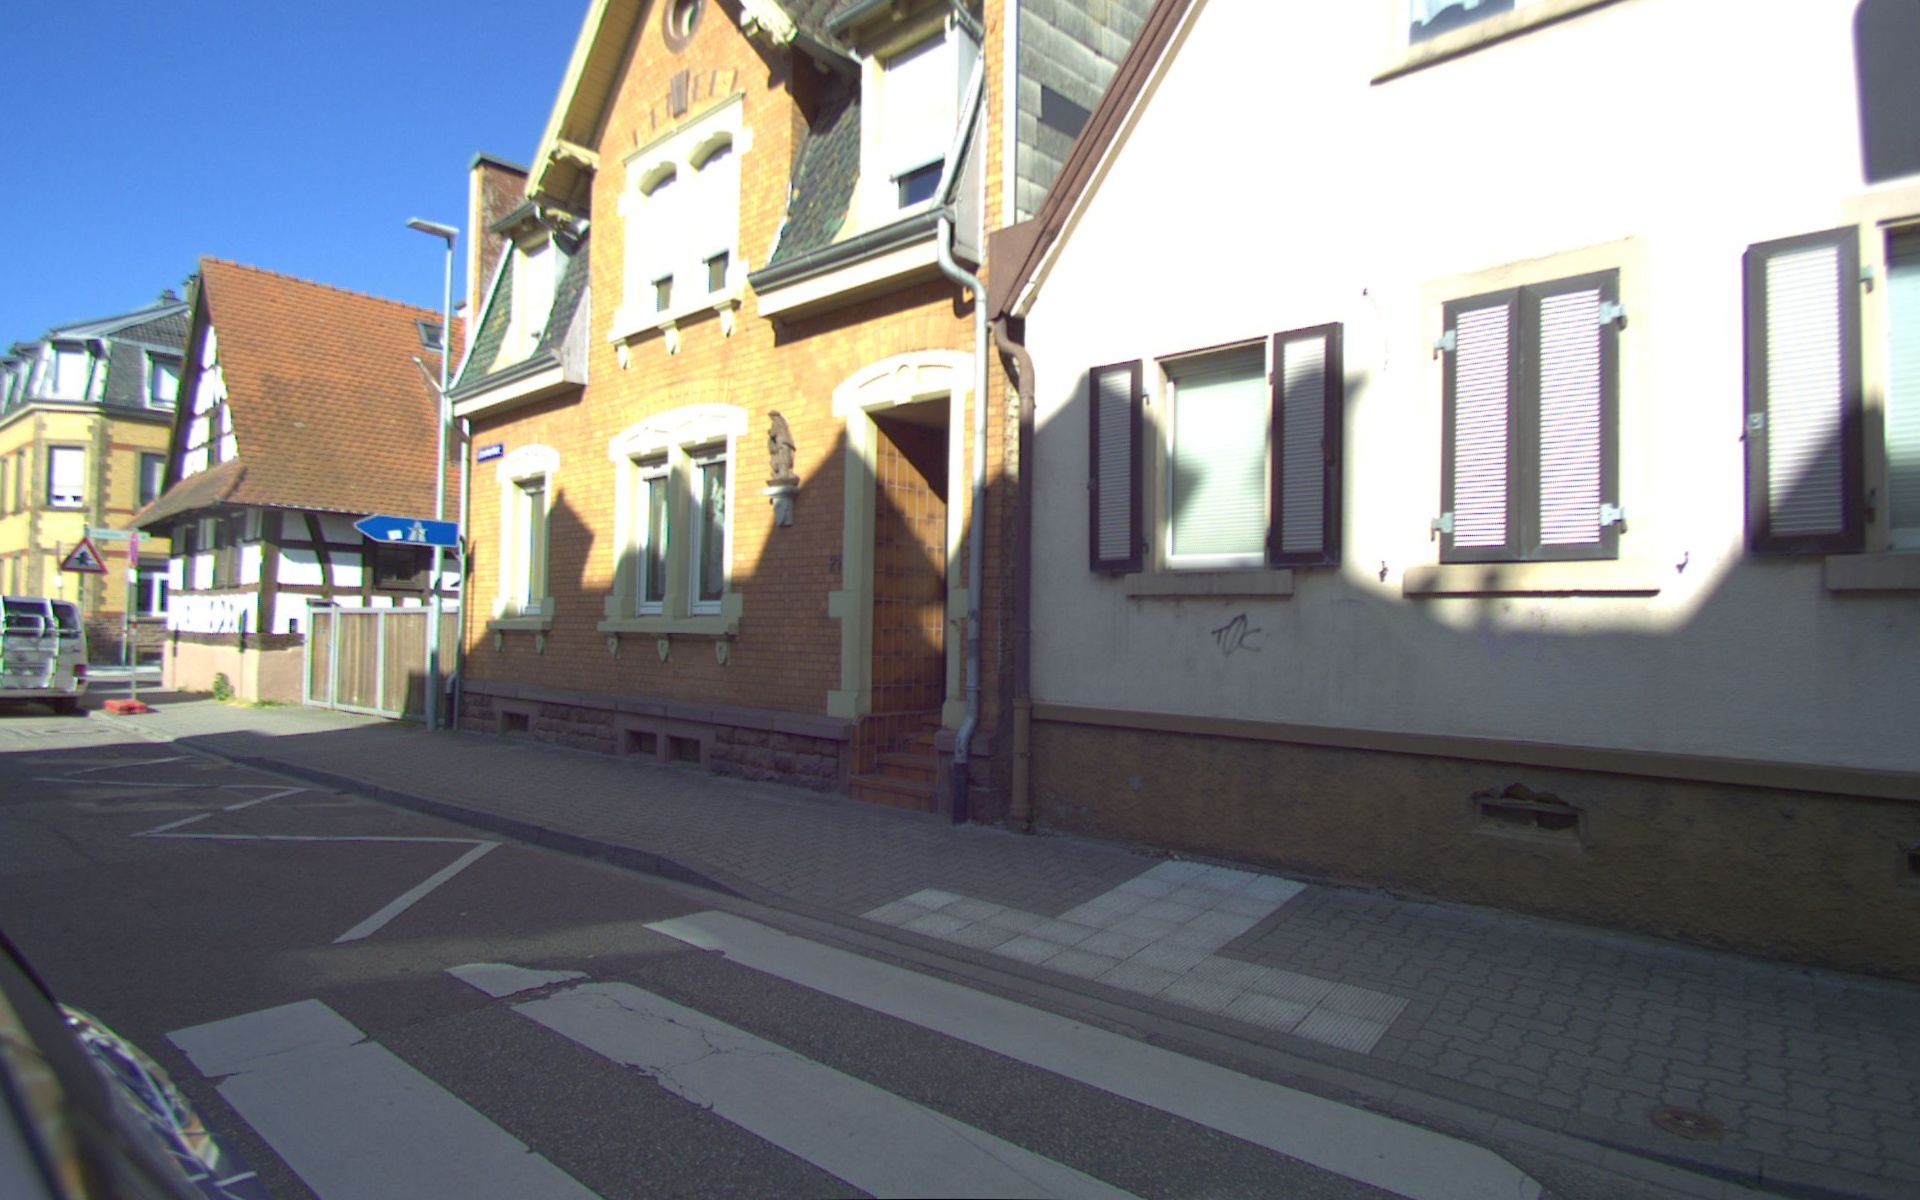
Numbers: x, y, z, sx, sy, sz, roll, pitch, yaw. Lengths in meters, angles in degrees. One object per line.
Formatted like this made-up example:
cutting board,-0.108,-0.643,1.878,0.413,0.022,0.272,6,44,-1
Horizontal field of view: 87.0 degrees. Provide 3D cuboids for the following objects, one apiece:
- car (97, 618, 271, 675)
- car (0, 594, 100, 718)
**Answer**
car,-23.549,1.419,30.807,1.717,1.556,3.957,2,-1,45
car,-16.471,0.875,16.981,4.824,1.895,1.859,0,-3,35
